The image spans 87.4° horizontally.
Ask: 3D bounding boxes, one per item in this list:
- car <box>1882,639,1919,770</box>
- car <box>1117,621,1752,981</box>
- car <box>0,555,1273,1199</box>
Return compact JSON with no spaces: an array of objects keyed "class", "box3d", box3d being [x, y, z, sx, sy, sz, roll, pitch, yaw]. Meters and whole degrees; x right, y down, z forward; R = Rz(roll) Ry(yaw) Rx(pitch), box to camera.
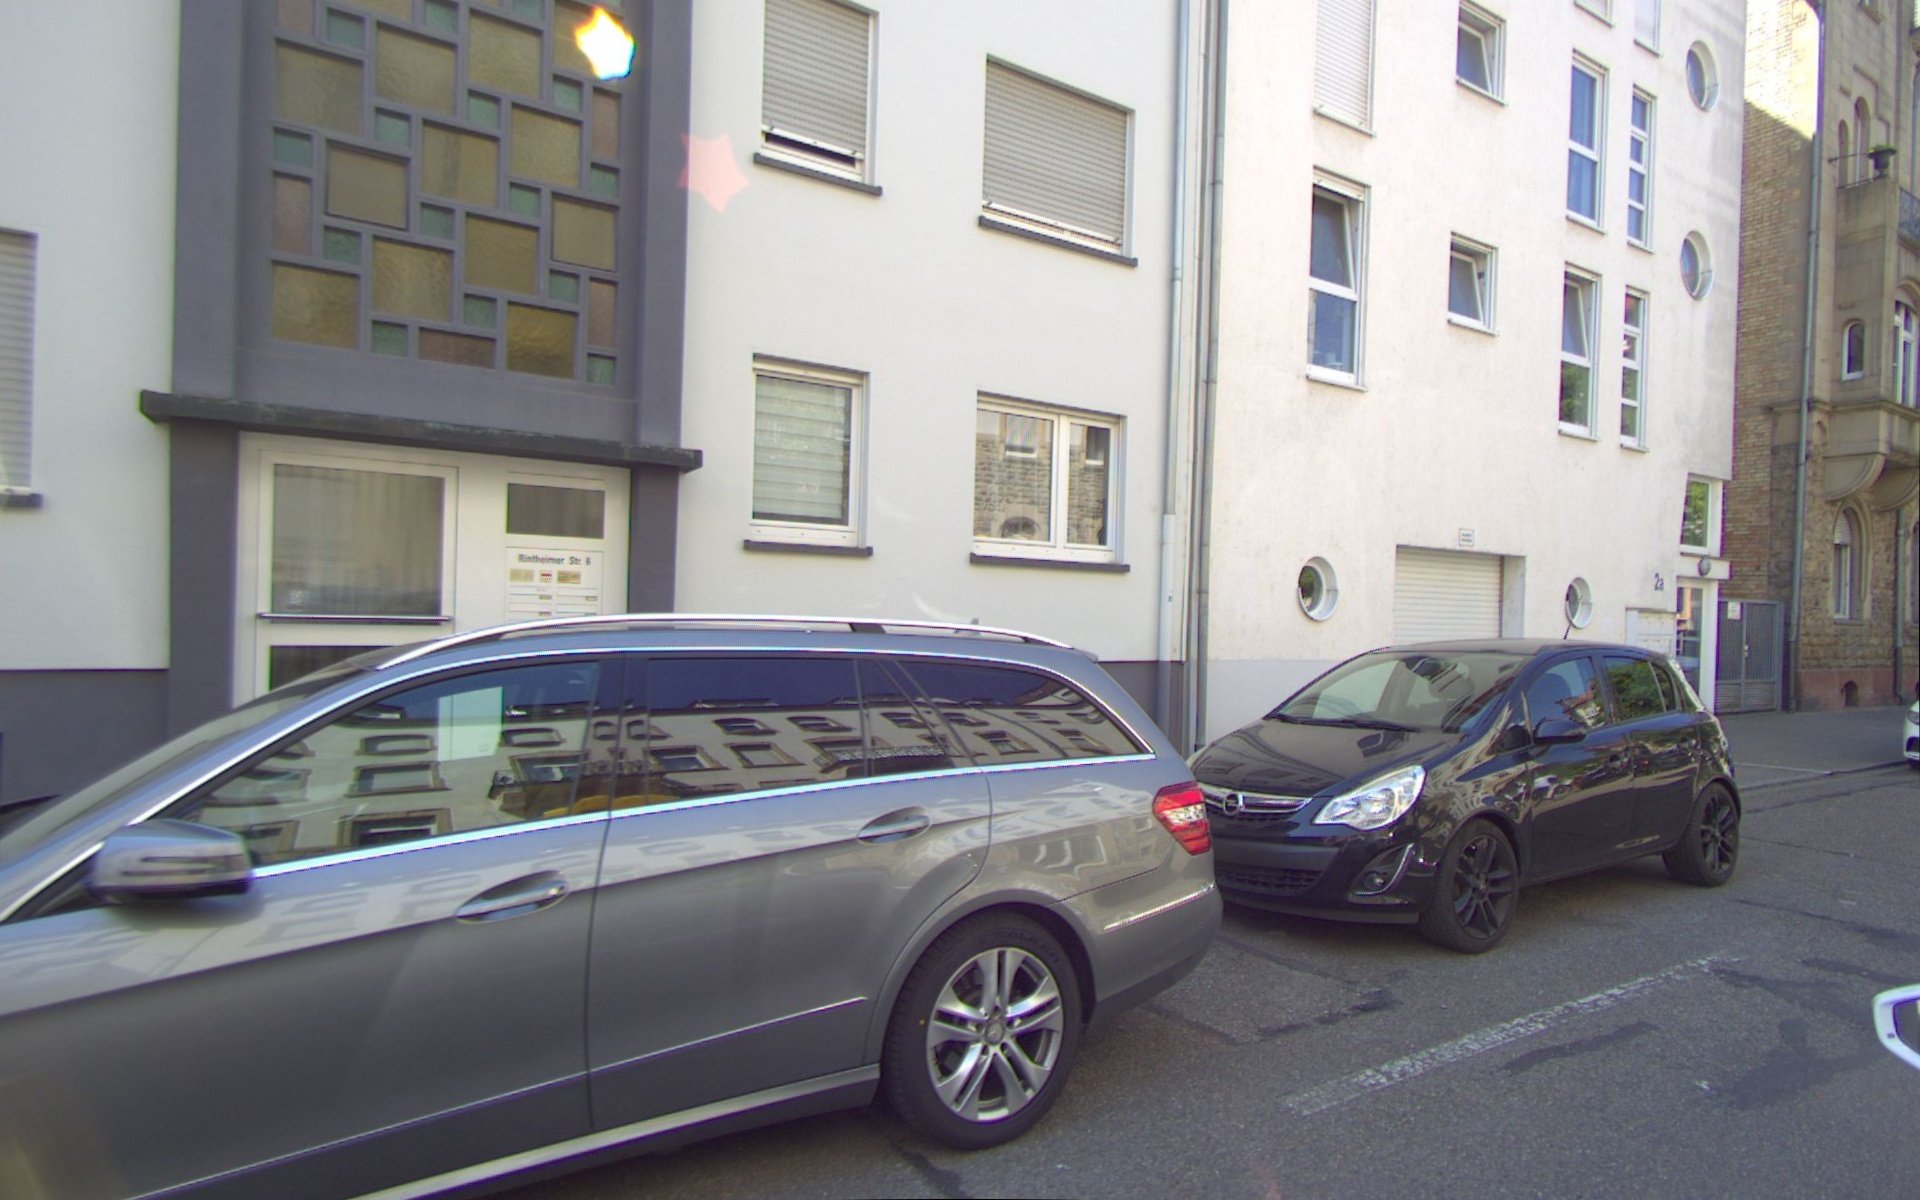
[{"class":"car","box3d":[12.925,1.240,12.061,4.234,1.479,1.766,2,-3,-34]},{"class":"car","box3d":[2.909,0.929,5.927,3.850,1.511,1.559,2,-3,-32]},{"class":"car","box3d":[-1.301,0.745,2.950,4.619,1.538,1.648,2,-3,-32]}]
